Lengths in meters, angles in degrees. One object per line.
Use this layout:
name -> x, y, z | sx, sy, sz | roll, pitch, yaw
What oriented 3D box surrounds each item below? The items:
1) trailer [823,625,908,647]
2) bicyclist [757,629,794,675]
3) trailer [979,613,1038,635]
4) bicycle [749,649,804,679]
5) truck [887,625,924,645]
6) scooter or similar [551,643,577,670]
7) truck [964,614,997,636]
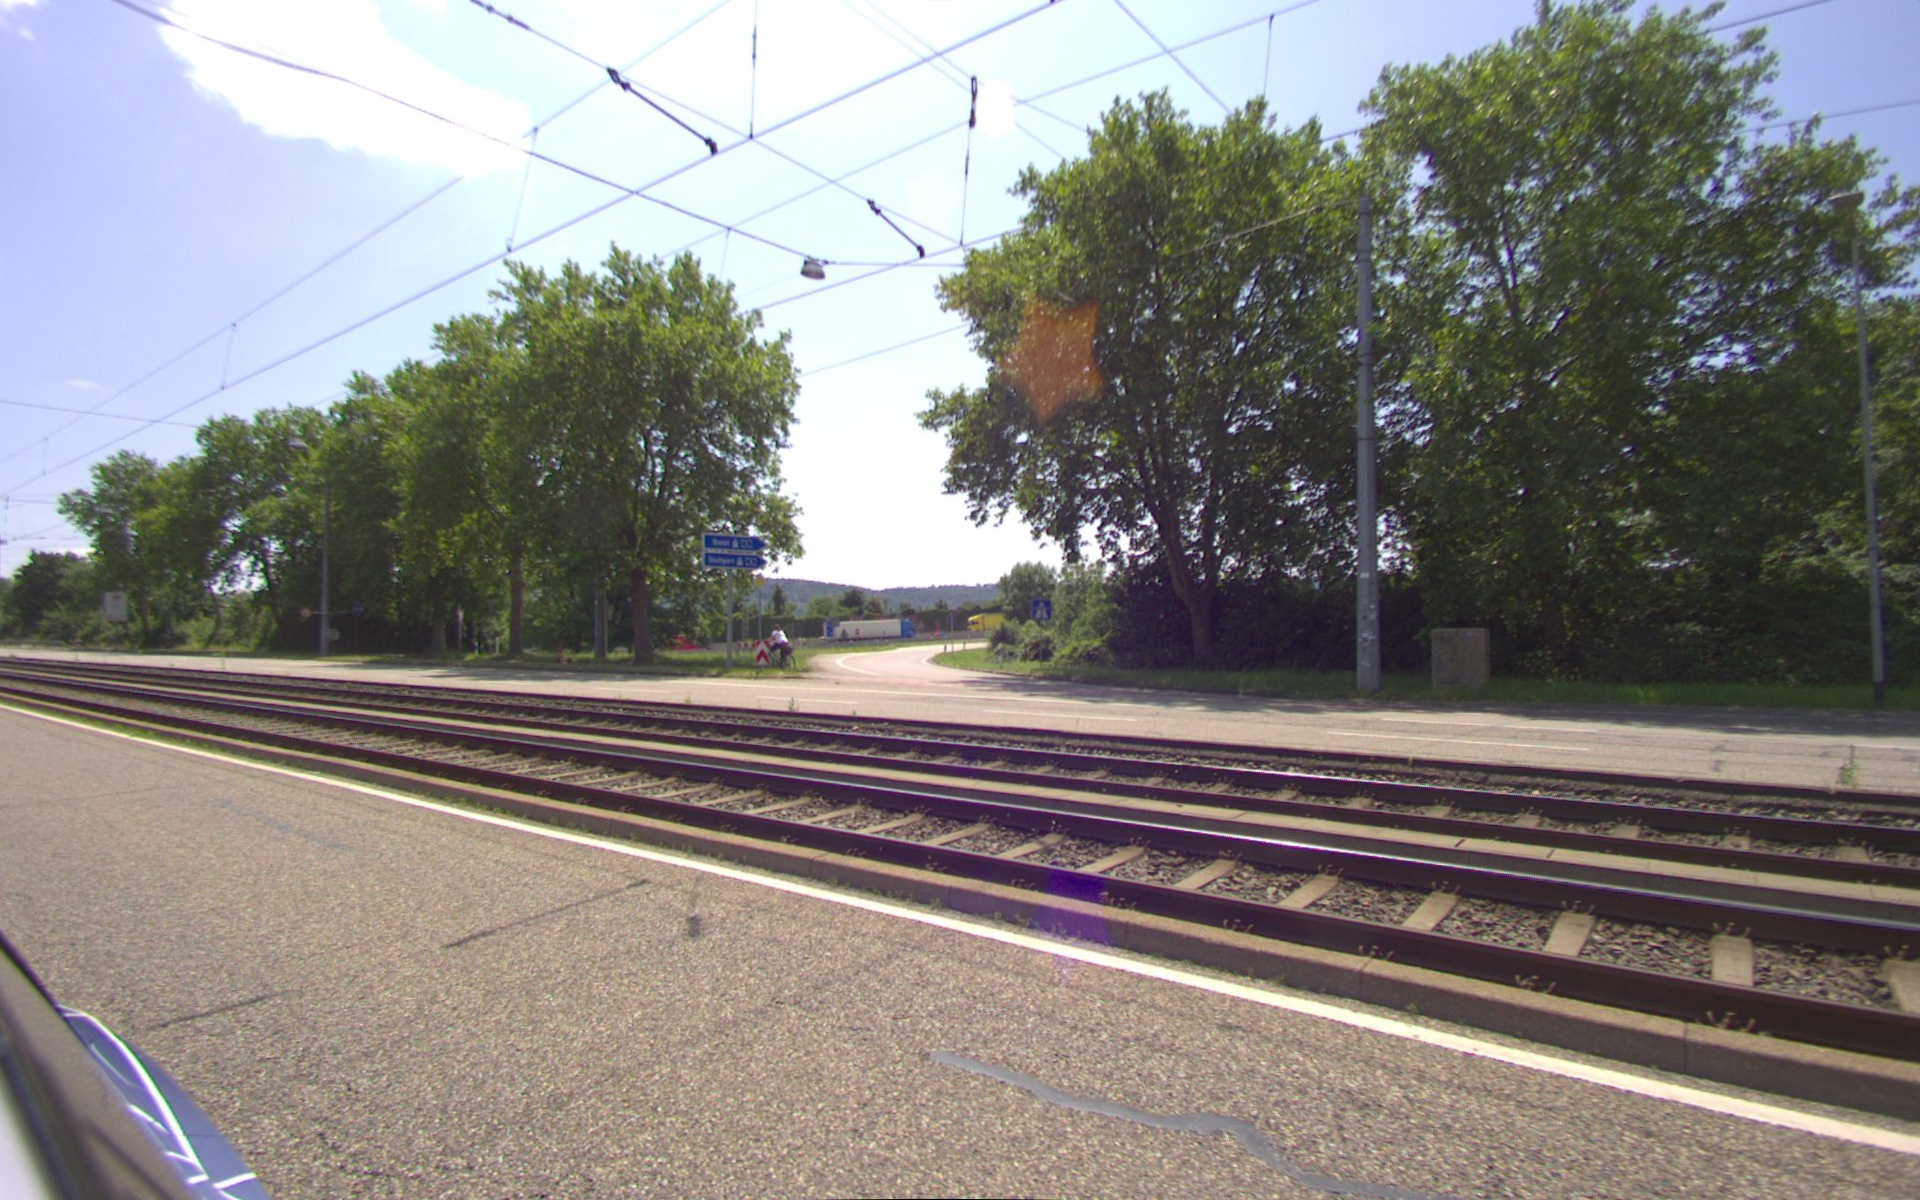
trailer -> -16.706, 6.386, 179.753 | 14.566, 3.454, 3.146 | -1, -1, -21
bicyclist -> -6.227, 1.749, 34.181 | 1.158, 1.529, 0.615 | -2, -2, 37
trailer -> 10.103, 5.033, 210.069 | 12.000, 4.188, 3.146 | -1, -1, -24
bicycle -> -6.201, 2.159, 34.163 | 2.088, 0.946, 0.615 | -2, -2, 38
truck -> -9.813, 6.246, 182.446 | 5.908, 3.454, 3.146 | -1, -1, -21
scooter or similar -> -17.528, 2.502, 44.802 | 1.233, 1.159, 0.457 | -2, -1, 37
truck -> 4.120, 5.148, 207.347 | 5.908, 4.188, 3.146 | -1, -1, -24
